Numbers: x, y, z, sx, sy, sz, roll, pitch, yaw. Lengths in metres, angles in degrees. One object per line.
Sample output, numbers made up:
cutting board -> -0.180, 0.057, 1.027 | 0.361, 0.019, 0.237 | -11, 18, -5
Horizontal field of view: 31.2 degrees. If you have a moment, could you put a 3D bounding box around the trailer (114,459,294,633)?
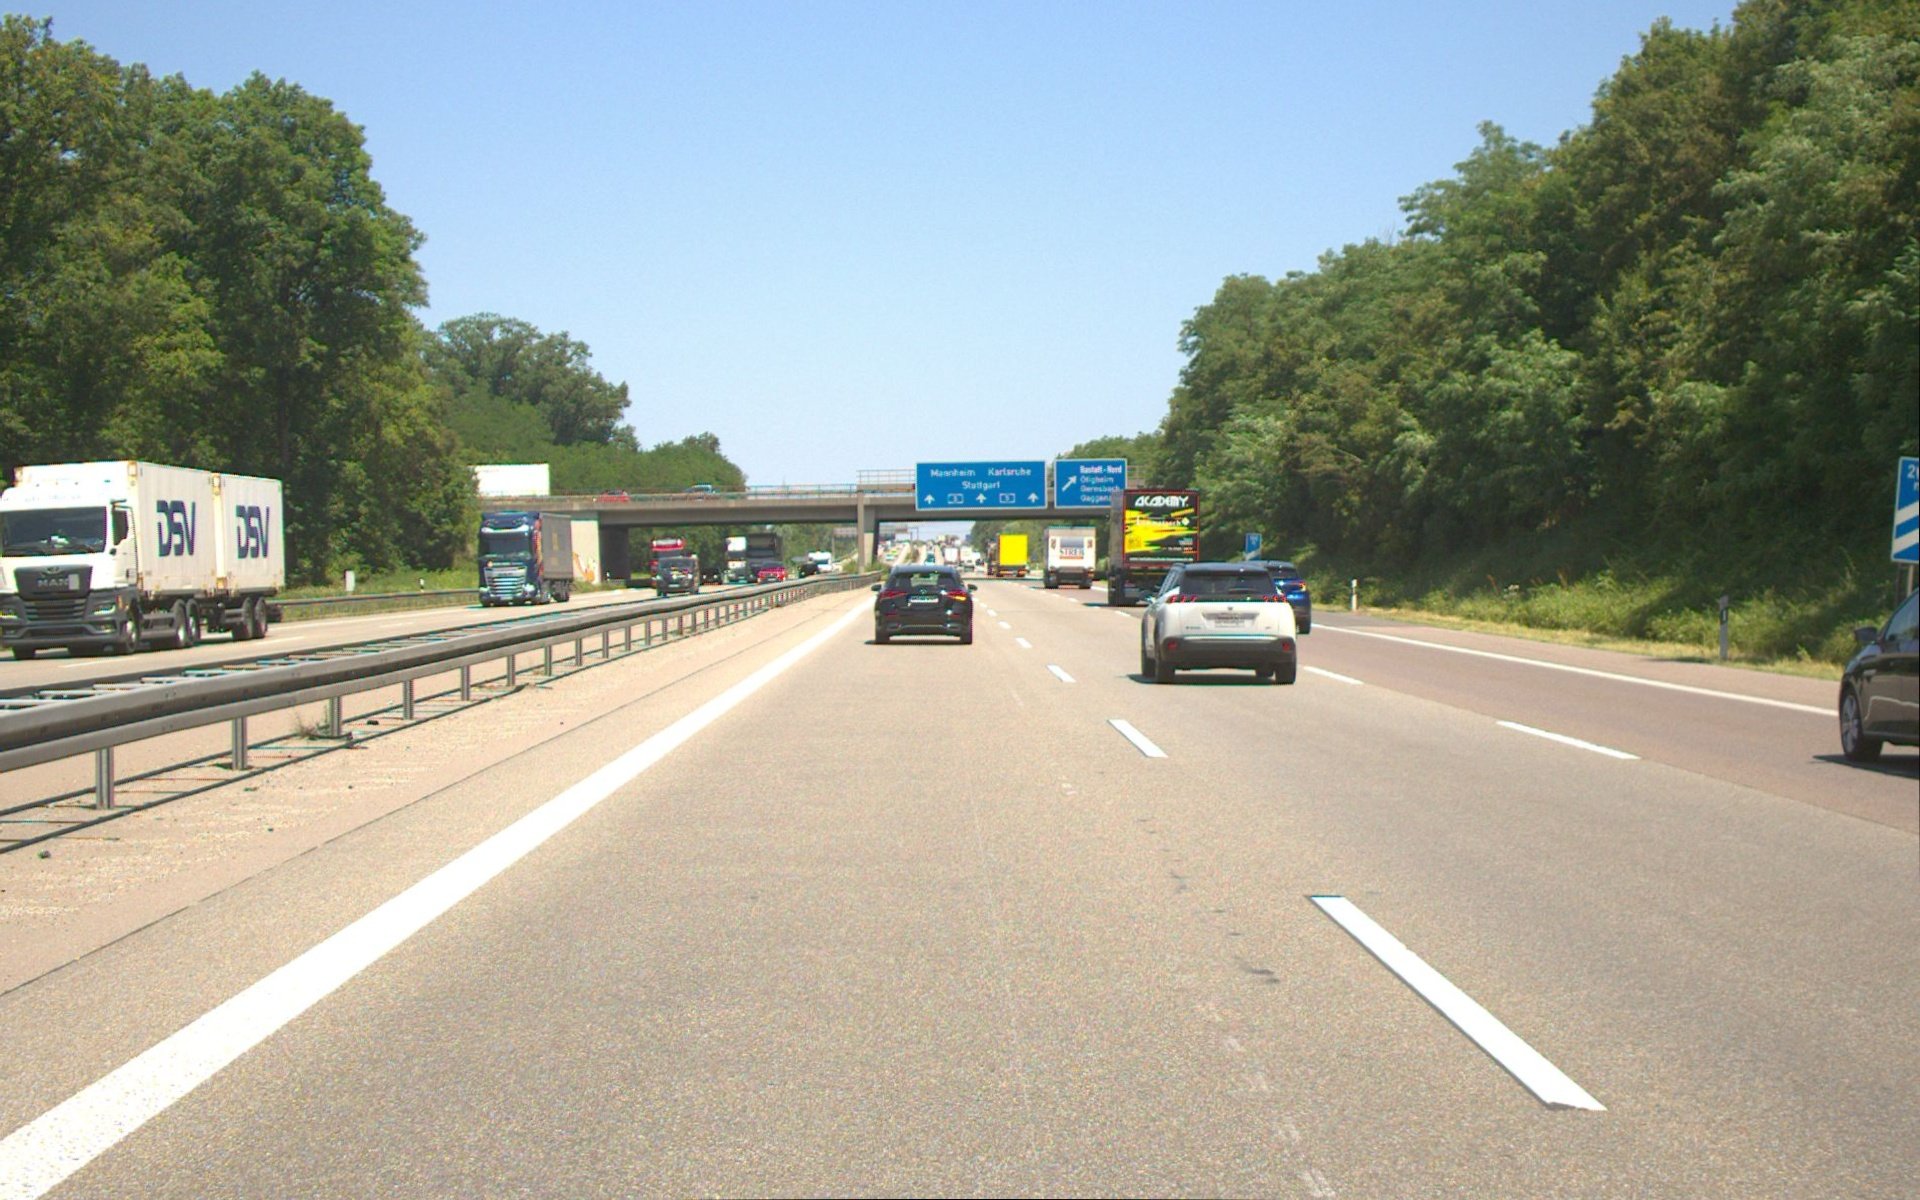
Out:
trailer -> -18.298, -1.282, 83.735 | 2.578, 3.976, 8.560 | 1, 0, -1

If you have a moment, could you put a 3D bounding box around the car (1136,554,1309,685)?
car -> 3.359, 0.222, 44.778 | 1.827, 1.602, 4.809 | 0, 0, -1

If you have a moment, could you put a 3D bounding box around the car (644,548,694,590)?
car -> -14.705, -1.563, 173.910 | 1.993, 2.007, 5.359 | -3, 0, 0

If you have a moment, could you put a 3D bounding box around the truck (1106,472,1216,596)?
truck -> 6.853, -2.217, 118.843 | 2.975, 4.023, 10.982 | 2, 0, 0

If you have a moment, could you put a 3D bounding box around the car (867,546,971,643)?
car -> -0.743, -0.121, 63.151 | 1.827, 1.700, 4.000 | 1, 0, -1

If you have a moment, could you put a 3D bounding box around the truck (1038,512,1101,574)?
truck -> 6.158, -3.123, 191.958 | 3.028, 3.308, 10.769 | 1, 0, 4

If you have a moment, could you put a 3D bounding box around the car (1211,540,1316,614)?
car -> 6.609, -0.506, 75.183 | 1.870, 1.551, 4.201 | 1, 0, 0

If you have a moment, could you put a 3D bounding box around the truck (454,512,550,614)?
truck -> -19.898, -1.598, 149.728 | 3.323, 4.327, 6.613 | 1, 0, -1

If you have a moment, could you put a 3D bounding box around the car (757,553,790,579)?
car -> -11.690, -2.120, 215.435 | 1.731, 1.579, 4.644 | 1, 0, 0

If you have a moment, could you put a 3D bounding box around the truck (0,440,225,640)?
truck -> -18.232, -1.248, 74.283 | 2.580, 3.994, 10.339 | 1, 0, -1

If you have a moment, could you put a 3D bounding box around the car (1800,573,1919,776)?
car -> 7.673, 0.533, 25.565 | 1.670, 1.442, 4.574 | 1, 0, -1
